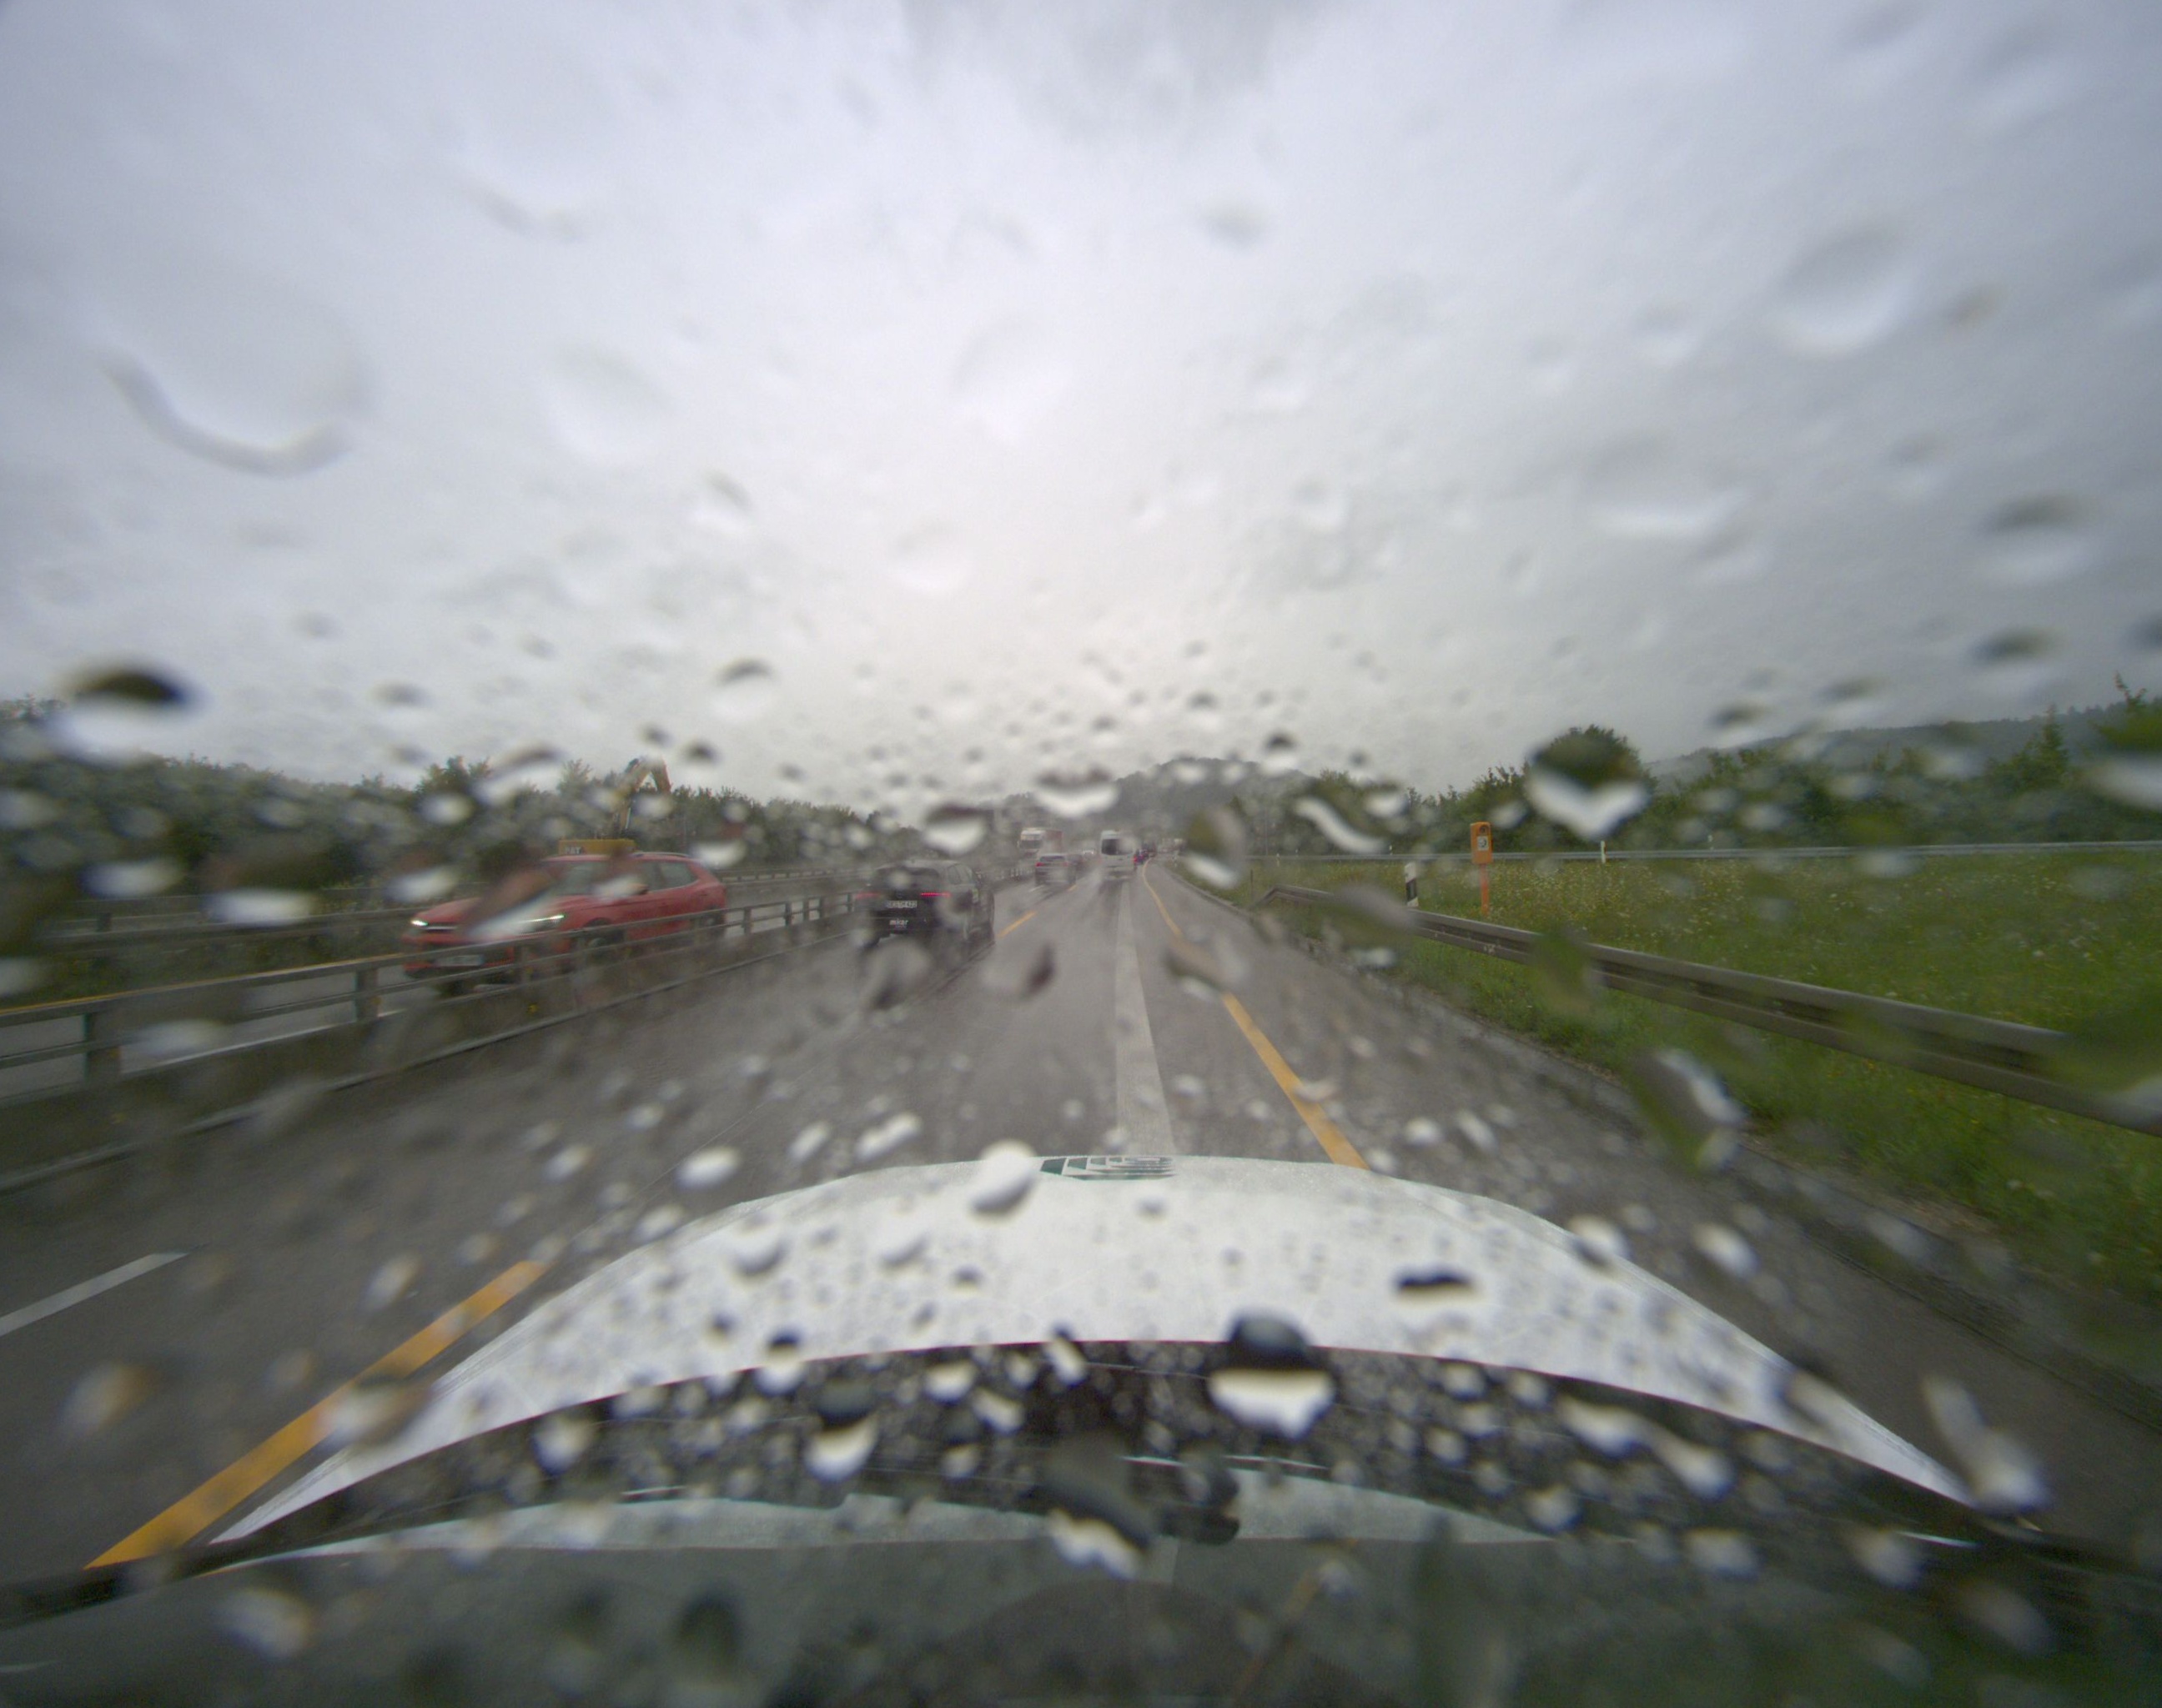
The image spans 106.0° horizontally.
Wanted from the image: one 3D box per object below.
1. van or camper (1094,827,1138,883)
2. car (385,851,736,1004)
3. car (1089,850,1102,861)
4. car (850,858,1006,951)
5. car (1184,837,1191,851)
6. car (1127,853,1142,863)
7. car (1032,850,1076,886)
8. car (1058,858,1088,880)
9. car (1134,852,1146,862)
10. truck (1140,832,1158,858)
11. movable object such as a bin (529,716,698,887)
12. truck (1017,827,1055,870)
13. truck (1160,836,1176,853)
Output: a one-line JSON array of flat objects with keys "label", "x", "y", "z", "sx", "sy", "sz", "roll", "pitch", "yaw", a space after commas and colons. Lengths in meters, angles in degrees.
[{"label": "van or camper", "x": 1.891, "y": 0.046, "z": 42.980, "sx": 2.130, "sy": 2.721, "sz": 4.652, "roll": -1, "pitch": 0, "yaw": 3}, {"label": "car", "x": -6.356, "y": 0.779, "z": 10.650, "sx": 1.795, "sy": 1.593, "sz": 4.185, "roll": 0, "pitch": 0, "yaw": 2}, {"label": "car", "x": 1.448, "y": 0.145, "z": 81.549, "sx": 1.257, "sy": 1.078, "sz": 3.256, "roll": -1, "pitch": 0, "yaw": 2}, {"label": "car", "x": -2.611, "y": 0.800, "z": 15.084, "sx": 1.932, "sy": 1.427, "sz": 4.760, "roll": 0, "pitch": 0, "yaw": 1}, {"label": "car", "x": 31.656, "y": -2.896, "z": 242.230, "sx": 2.047, "sy": 4.191, "sz": 6.759, "roll": -1, "pitch": 0, "yaw": 7}, {"label": "car", "x": 5.871, "y": 0.430, "z": 89.296, "sx": 1.381, "sy": 1.078, "sz": 3.120, "roll": -1, "pitch": 0, "yaw": -2}, {"label": "car", "x": -1.322, "y": 0.673, "z": 41.081, "sx": 1.860, "sy": 1.659, "sz": 3.991, "roll": -1, "pitch": 0, "yaw": 3}, {"label": "car", "x": -0.538, "y": 1.076, "z": 58.689, "sx": 1.844, "sy": 1.500, "sz": 4.003, "roll": -1, "pitch": 0, "yaw": 3}, {"label": "car", "x": 8.035, "y": 0.371, "z": 110.806, "sx": 1.379, "sy": 1.256, "sz": 3.123, "roll": -1, "pitch": 0, "yaw": 1}, {"label": "truck", "x": 13.267, "y": -1.673, "z": 158.206, "sx": 3.305, "sy": 4.785, "sz": 9.920, "roll": 0, "pitch": 0, "yaw": 5}, {"label": "movable object such as a bin", "x": -24.363, "y": -2.500, "z": 43.176, "sx": 3.579, "sy": 8.143, "sz": 8.319, "roll": 0, "pitch": 0, "yaw": 5}, {"label": "truck", "x": -4.614, "y": -0.557, "z": 85.289, "sx": 2.994, "sy": 4.272, "sz": 6.808, "roll": -2, "pitch": 0, "yaw": 4}, {"label": "truck", "x": 24.253, "y": -2.567, "z": 226.106, "sx": 3.905, "sy": 4.785, "sz": 9.932, "roll": 0, "pitch": 0, "yaw": 9}]
